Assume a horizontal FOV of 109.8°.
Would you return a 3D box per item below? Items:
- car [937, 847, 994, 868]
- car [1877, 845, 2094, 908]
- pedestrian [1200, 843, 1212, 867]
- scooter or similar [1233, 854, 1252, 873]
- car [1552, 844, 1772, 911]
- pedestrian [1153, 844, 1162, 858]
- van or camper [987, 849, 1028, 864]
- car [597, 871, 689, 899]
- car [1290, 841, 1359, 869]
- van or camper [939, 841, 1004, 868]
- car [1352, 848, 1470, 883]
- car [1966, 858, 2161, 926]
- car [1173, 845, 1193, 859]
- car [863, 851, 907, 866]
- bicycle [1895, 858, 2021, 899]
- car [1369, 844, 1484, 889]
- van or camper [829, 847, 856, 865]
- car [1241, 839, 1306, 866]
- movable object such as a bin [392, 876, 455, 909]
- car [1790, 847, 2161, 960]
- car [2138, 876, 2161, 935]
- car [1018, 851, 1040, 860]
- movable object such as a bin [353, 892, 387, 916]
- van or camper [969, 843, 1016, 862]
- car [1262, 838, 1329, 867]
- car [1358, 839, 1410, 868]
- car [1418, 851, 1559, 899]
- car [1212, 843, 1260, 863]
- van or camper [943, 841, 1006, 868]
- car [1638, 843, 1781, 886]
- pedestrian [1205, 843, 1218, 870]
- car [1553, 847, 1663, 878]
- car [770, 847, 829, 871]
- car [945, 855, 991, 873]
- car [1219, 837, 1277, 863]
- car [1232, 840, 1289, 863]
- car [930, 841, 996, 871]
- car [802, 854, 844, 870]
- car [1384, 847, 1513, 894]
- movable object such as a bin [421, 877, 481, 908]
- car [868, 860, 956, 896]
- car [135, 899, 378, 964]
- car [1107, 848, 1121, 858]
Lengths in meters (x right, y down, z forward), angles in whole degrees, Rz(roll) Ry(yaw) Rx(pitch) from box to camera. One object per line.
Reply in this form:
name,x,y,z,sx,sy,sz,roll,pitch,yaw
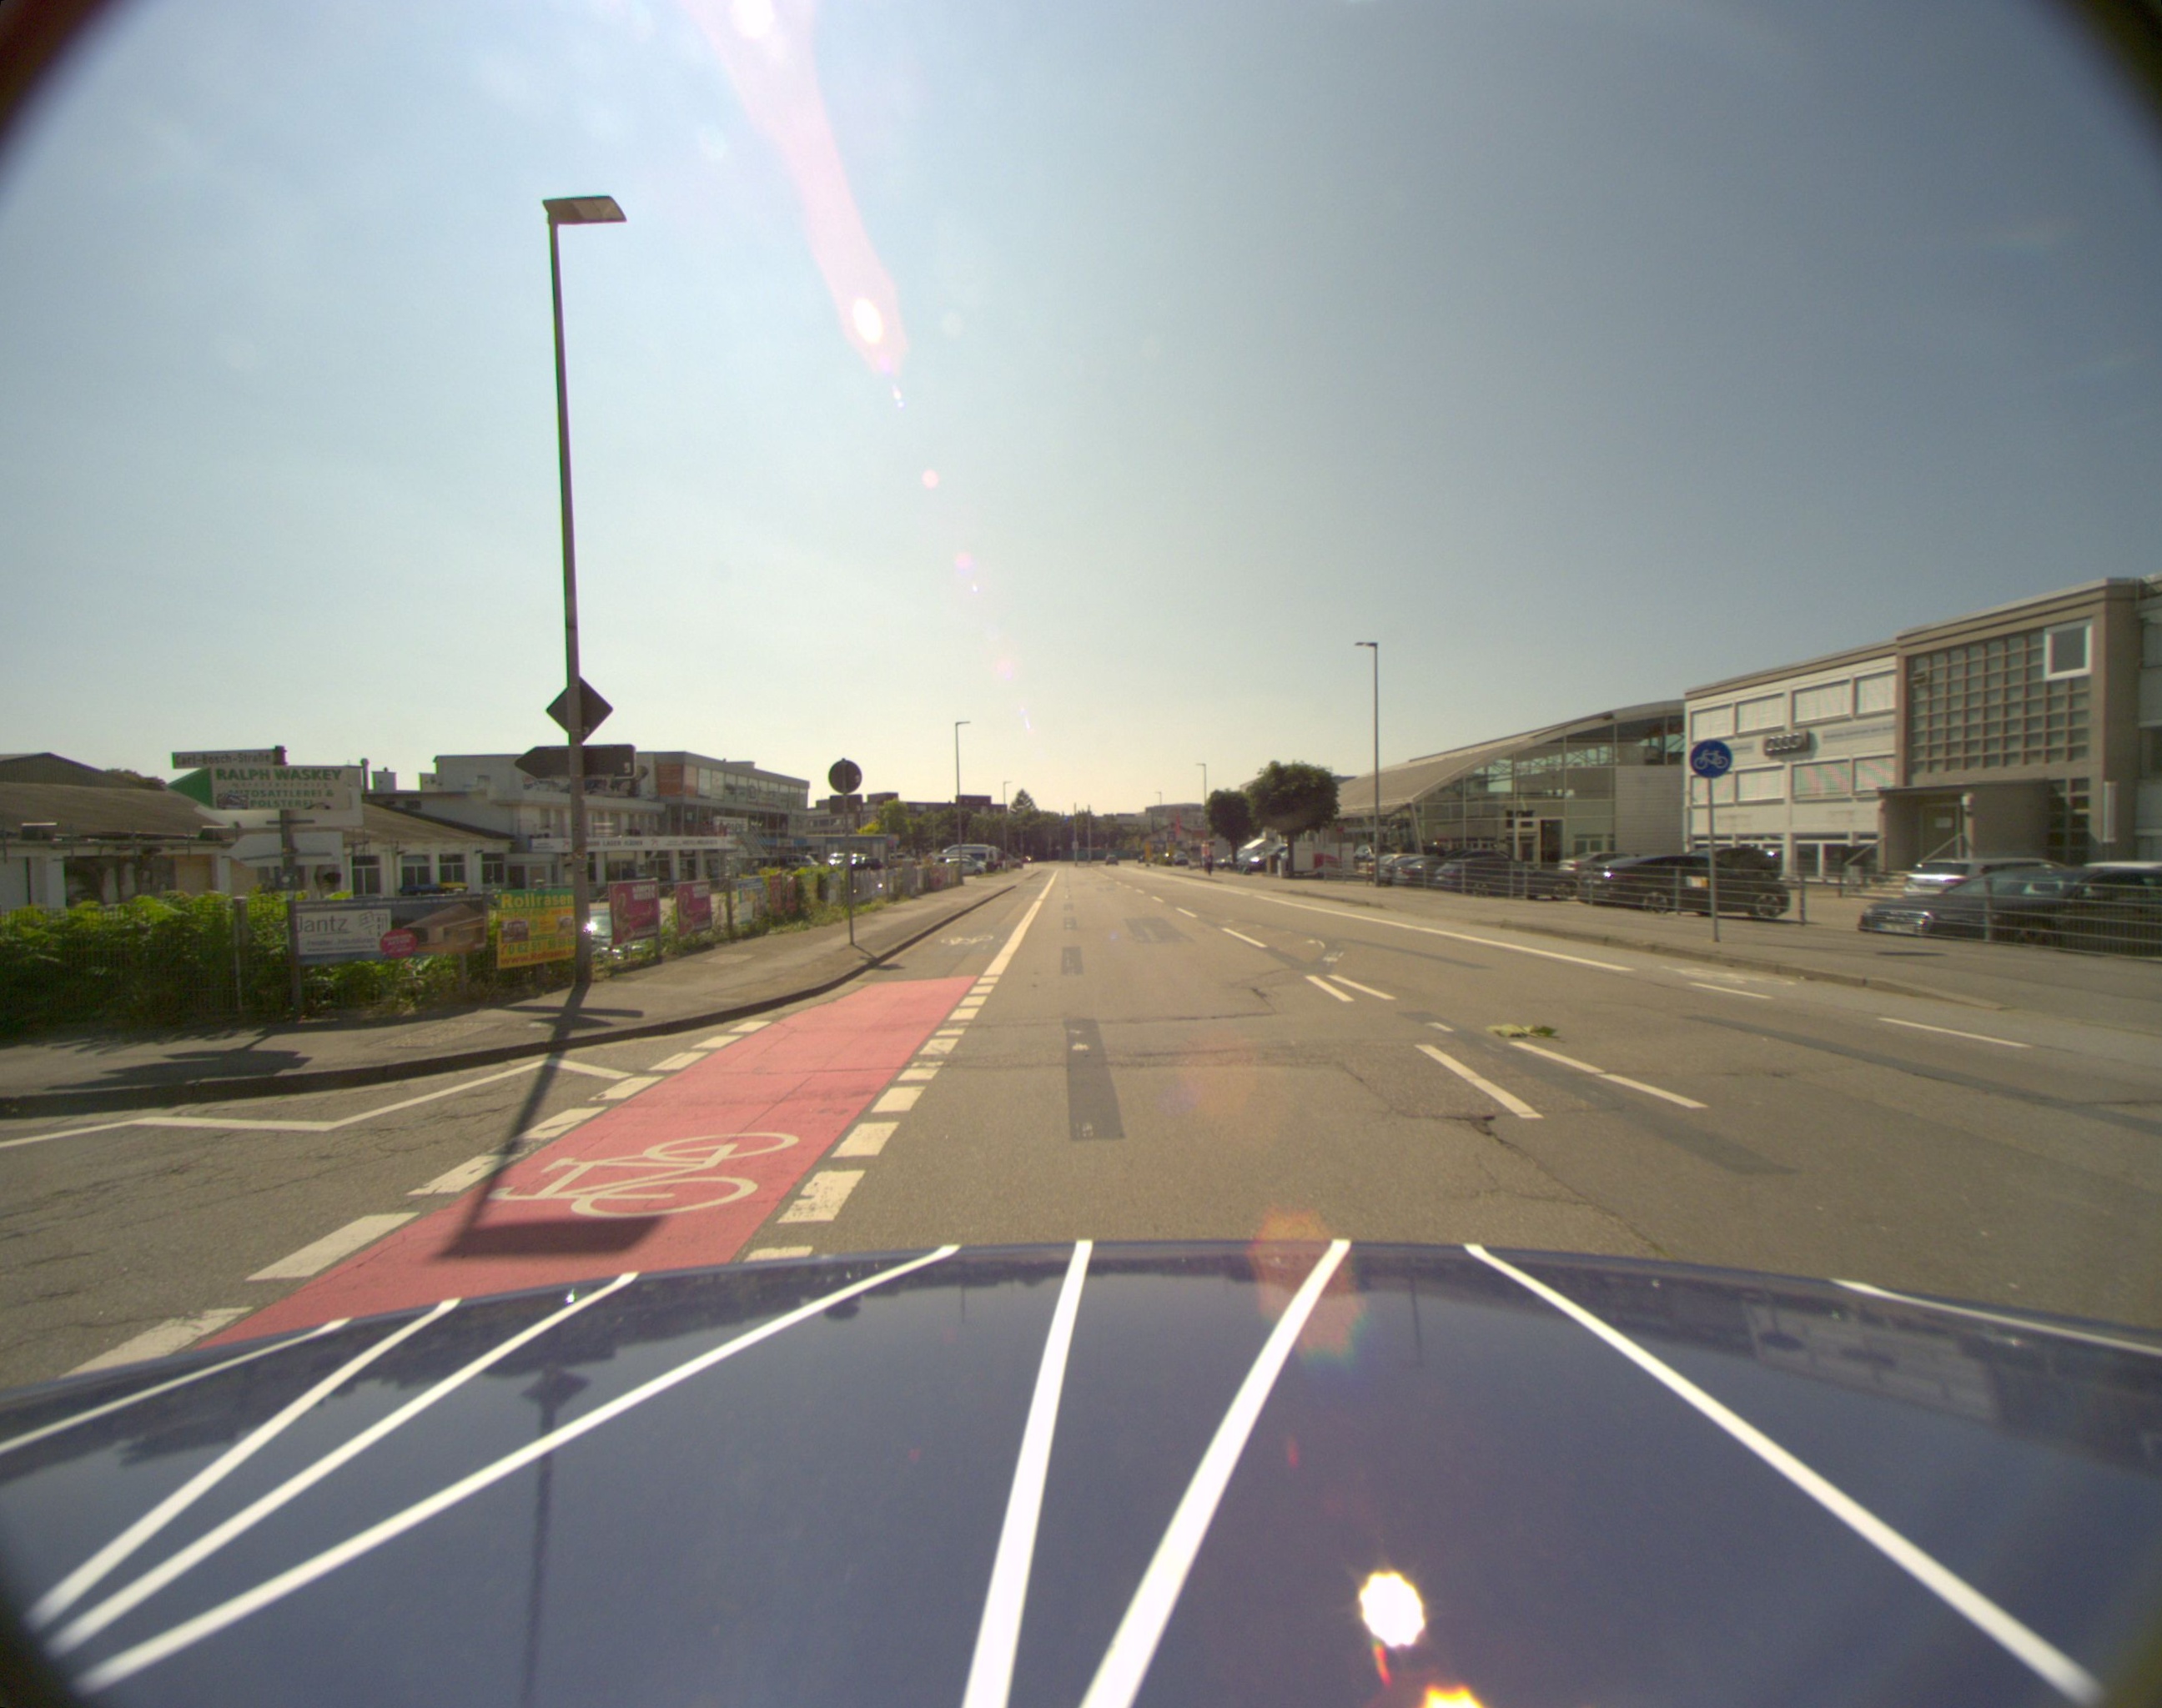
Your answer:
car,-11.199,0.337,73.760,5.248,1.940,1.999,0,1,-2
car,25.284,0.592,21.331,3.998,1.537,1.858,-2,1,-2
pedestrian,9.598,0.095,58.474,0.725,1.838,0.911,-1,1,-1
scooter or similar,10.908,0.651,51.266,0.746,1.240,1.489,-2,1,-9
car,14.898,0.554,19.640,4.309,1.549,1.994,-1,1,-5
pedestrian,9.561,-0.383,95.172,0.996,1.676,0.800,-1,1,10
van or camper,-9.997,0.350,103.331,5.145,1.950,1.981,-1,2,-31
car,-26.955,1.866,46.854,4.562,1.283,1.890,-5,2,-41
car,15.083,0.050,47.028,4.006,1.541,1.855,-2,1,-32
van or camper,-11.365,0.019,79.366,6.366,2.684,2.712,-1,1,-1
car,14.881,0.481,34.399,4.536,1.449,1.900,-1,1,-3
car,25.071,0.901,18.838,3.996,1.395,1.815,-2,3,2
car,12.517,-0.258,93.581,1.909,1.705,4.000,-1,1,1
car,-22.356,0.499,86.972,4.551,1.668,1.999,-1,1,-5
bicycle,27.599,0.745,24.006,0.928,1.171,2.575,-2,0,-3
car,14.348,0.487,31.686,3.900,1.437,1.822,-5,3,-2
van or camper,-28.870,0.211,92.092,2.124,2.002,5.111,-1,1,-7
car,13.599,-0.109,53.557,4.588,1.687,1.854,-2,1,-36
movable object such as a bin,-32.387,1.892,37.485,1.575,1.447,1.754,-2,1,-6
car,14.084,0.671,11.586,4.752,1.472,2.047,-1,1,-2
car,25.613,1.075,16.112,3.998,1.257,1.858,-2,1,-2
car,-10.671,0.256,155.857,3.989,1.696,2.004,-2,1,34
movable object such as a bin,-32.850,2.300,35.108,0.748,1.030,0.876,-2,1,-6
van or camper,-12.963,-0.208,111.681,6.375,2.621,2.526,-2,1,-37
car,14.255,-0.104,50.375,4.488,1.698,1.906,-4,2,-36
car,18.499,-0.048,46.546,1.997,1.674,4.002,-2,1,7
car,14.300,0.692,26.800,3.999,1.482,1.857,-1,3,-5
car,13.186,-0.071,64.602,4.168,1.451,1.903,-4,1,-44
van or camper,-11.436,0.012,82.143,6.366,2.700,2.712,-1,1,-1
car,25.388,0.386,30.781,4.366,1.544,1.858,-2,1,-4
pedestrian,9.143,0.141,53.334,0.734,1.857,1.047,-1,1,1
car,25.193,0.383,36.405,3.997,1.351,1.859,-2,1,-1
car,-29.840,0.528,80.692,5.313,2.405,2.324,-1,1,-6
car,-10.515,0.916,70.927,3.932,1.584,1.798,-1,1,-1
car,13.534,-0.347,61.479,4.489,1.599,1.961,-6,-1,-36
car,13.567,-0.217,57.358,4.210,1.486,1.870,-4,2,-36
car,-11.766,0.182,76.281,6.244,2.853,2.320,-1,1,-1
car,-29.300,0.880,86.523,4.117,1.723,1.999,-1,1,-5
car,14.104,0.617,29.282,3.998,1.435,1.858,4,1,-4
movable object such as a bin,-32.537,1.961,39.313,1.575,1.447,1.824,-2,1,-6
car,-9.369,1.308,41.999,5.033,1.613,2.026,-2,6,41
car,-22.611,2.101,20.993,4.340,1.390,2.119,-2,1,0
car,4.767,-0.134,109.441,1.745,1.396,4.326,-2,0,6
